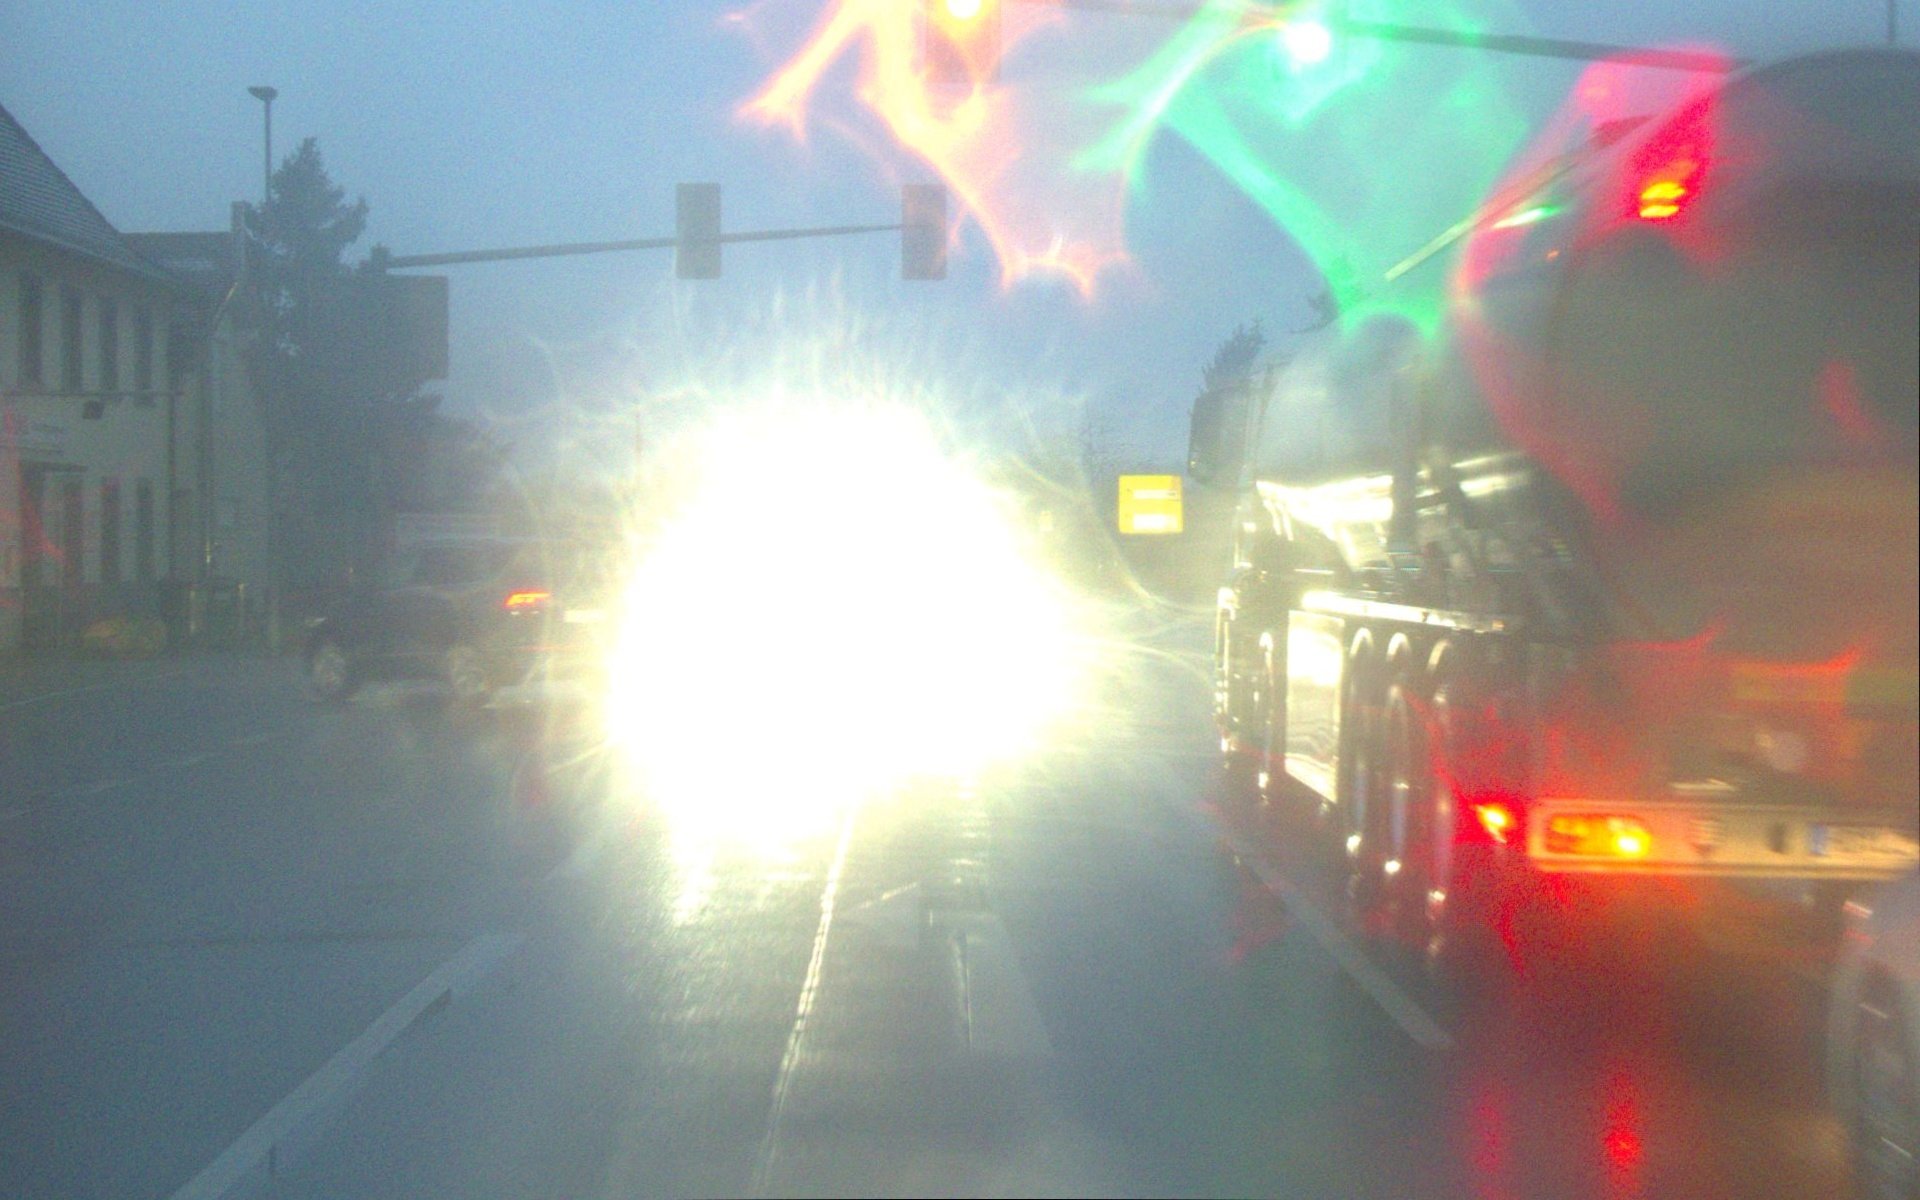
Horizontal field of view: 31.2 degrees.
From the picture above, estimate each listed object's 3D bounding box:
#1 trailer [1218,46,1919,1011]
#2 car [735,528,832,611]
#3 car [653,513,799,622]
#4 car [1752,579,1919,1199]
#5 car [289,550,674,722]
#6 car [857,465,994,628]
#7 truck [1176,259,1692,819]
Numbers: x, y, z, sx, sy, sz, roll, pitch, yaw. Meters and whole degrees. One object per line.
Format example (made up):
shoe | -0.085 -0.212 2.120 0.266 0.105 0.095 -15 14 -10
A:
trailer | 3.019 -0.323 16.999 2.488 3.229 10.869 1 1 -1
car | -3.785 -0.654 74.454 1.721 1.717 3.928 -1 0 2
car | -3.942 -0.576 58.540 1.994 1.740 4.000 -1 1 3
car | 2.673 0.719 5.637 1.662 1.434 4.382 1 1 -1
car | -4.898 0.316 34.611 2.047 1.567 4.703 -2 1 -32
car | -0.680 -1.011 65.479 2.401 2.882 6.251 2 1 -1
truck | 2.941 -0.404 23.056 2.461 3.218 6.273 1 1 -1
